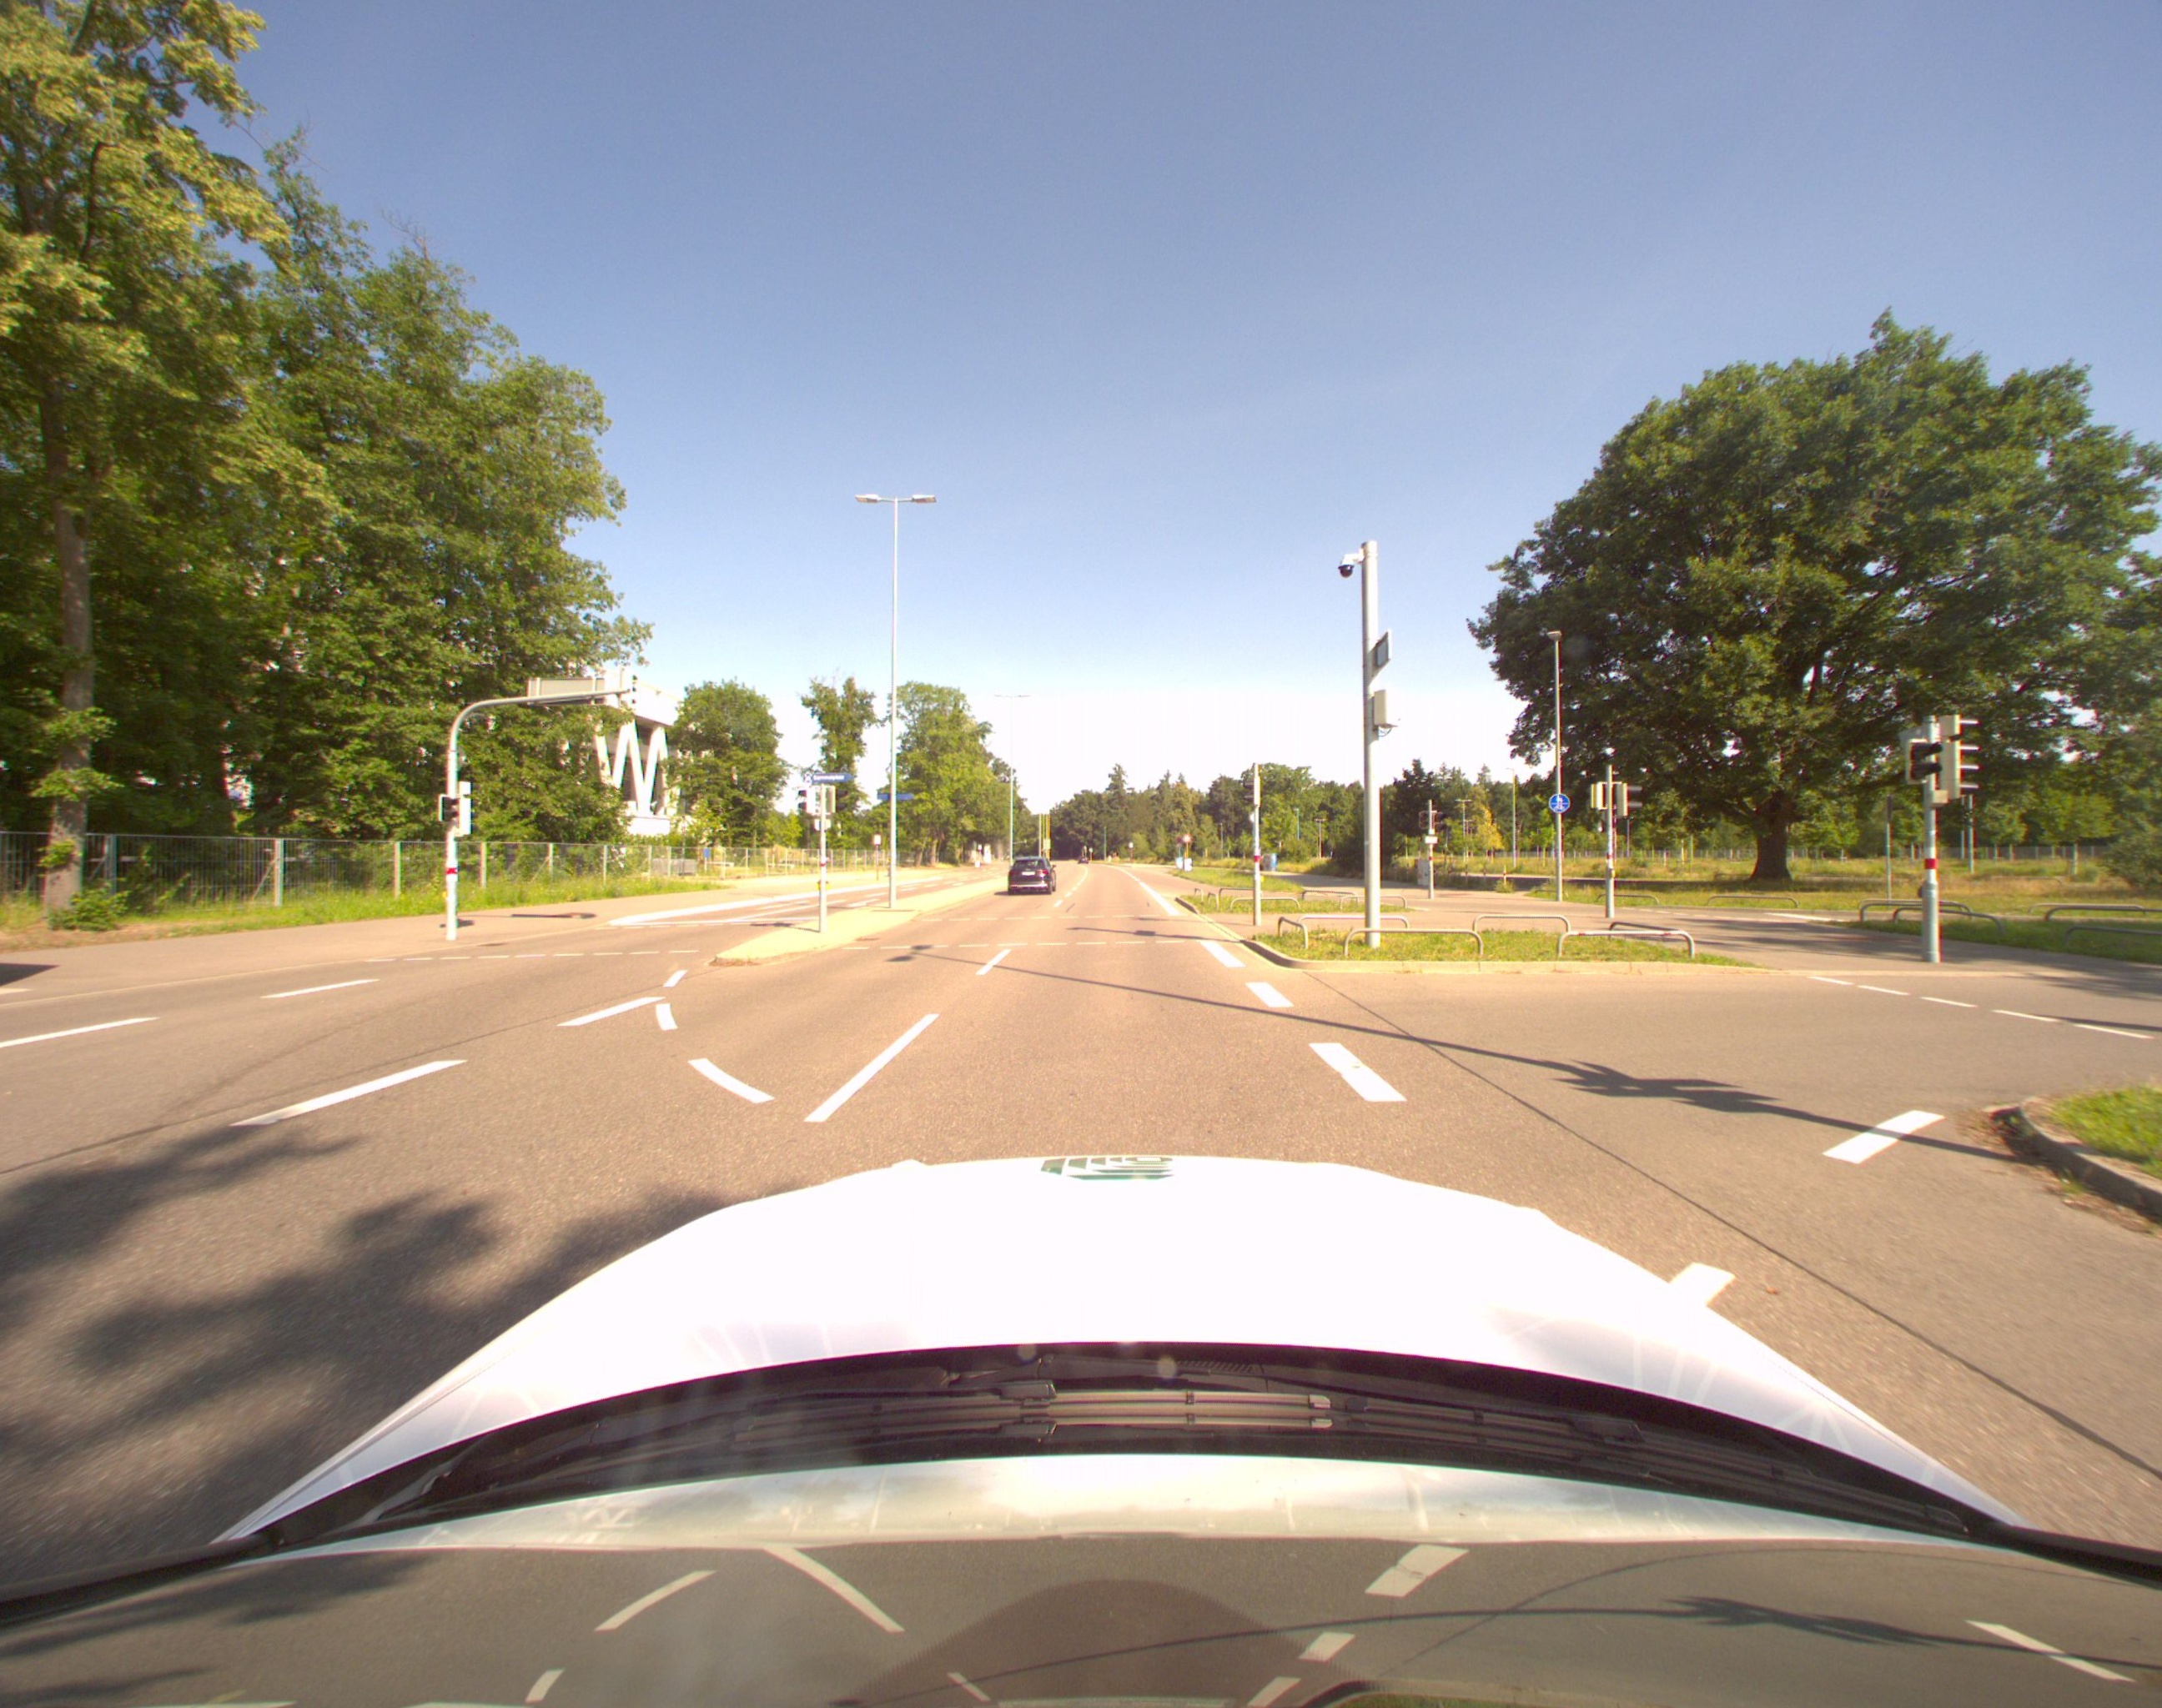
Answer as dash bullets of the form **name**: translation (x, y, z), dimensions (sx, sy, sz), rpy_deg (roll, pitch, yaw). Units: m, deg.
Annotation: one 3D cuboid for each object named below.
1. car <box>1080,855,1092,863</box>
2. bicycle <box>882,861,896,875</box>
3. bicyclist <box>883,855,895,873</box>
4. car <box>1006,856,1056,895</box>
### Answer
- **car**: translation (0.804, 0.939, 146.301), dimensions (1.936, 1.420, 4.288), rpy_deg (0, 0, -3)
- **bicycle**: translation (-15.711, 1.137, 66.751), dimensions (0.657, 1.136, 1.879), rpy_deg (1, 0, 1)
- **bicyclist**: translation (-15.694, 0.781, 66.651), dimensions (0.657, 1.467, 1.057), rpy_deg (1, 0, 1)
- **car**: translation (-2.054, 0.861, 34.747), dimensions (1.681, 1.544, 4.151), rpy_deg (-1, 0, 2)
